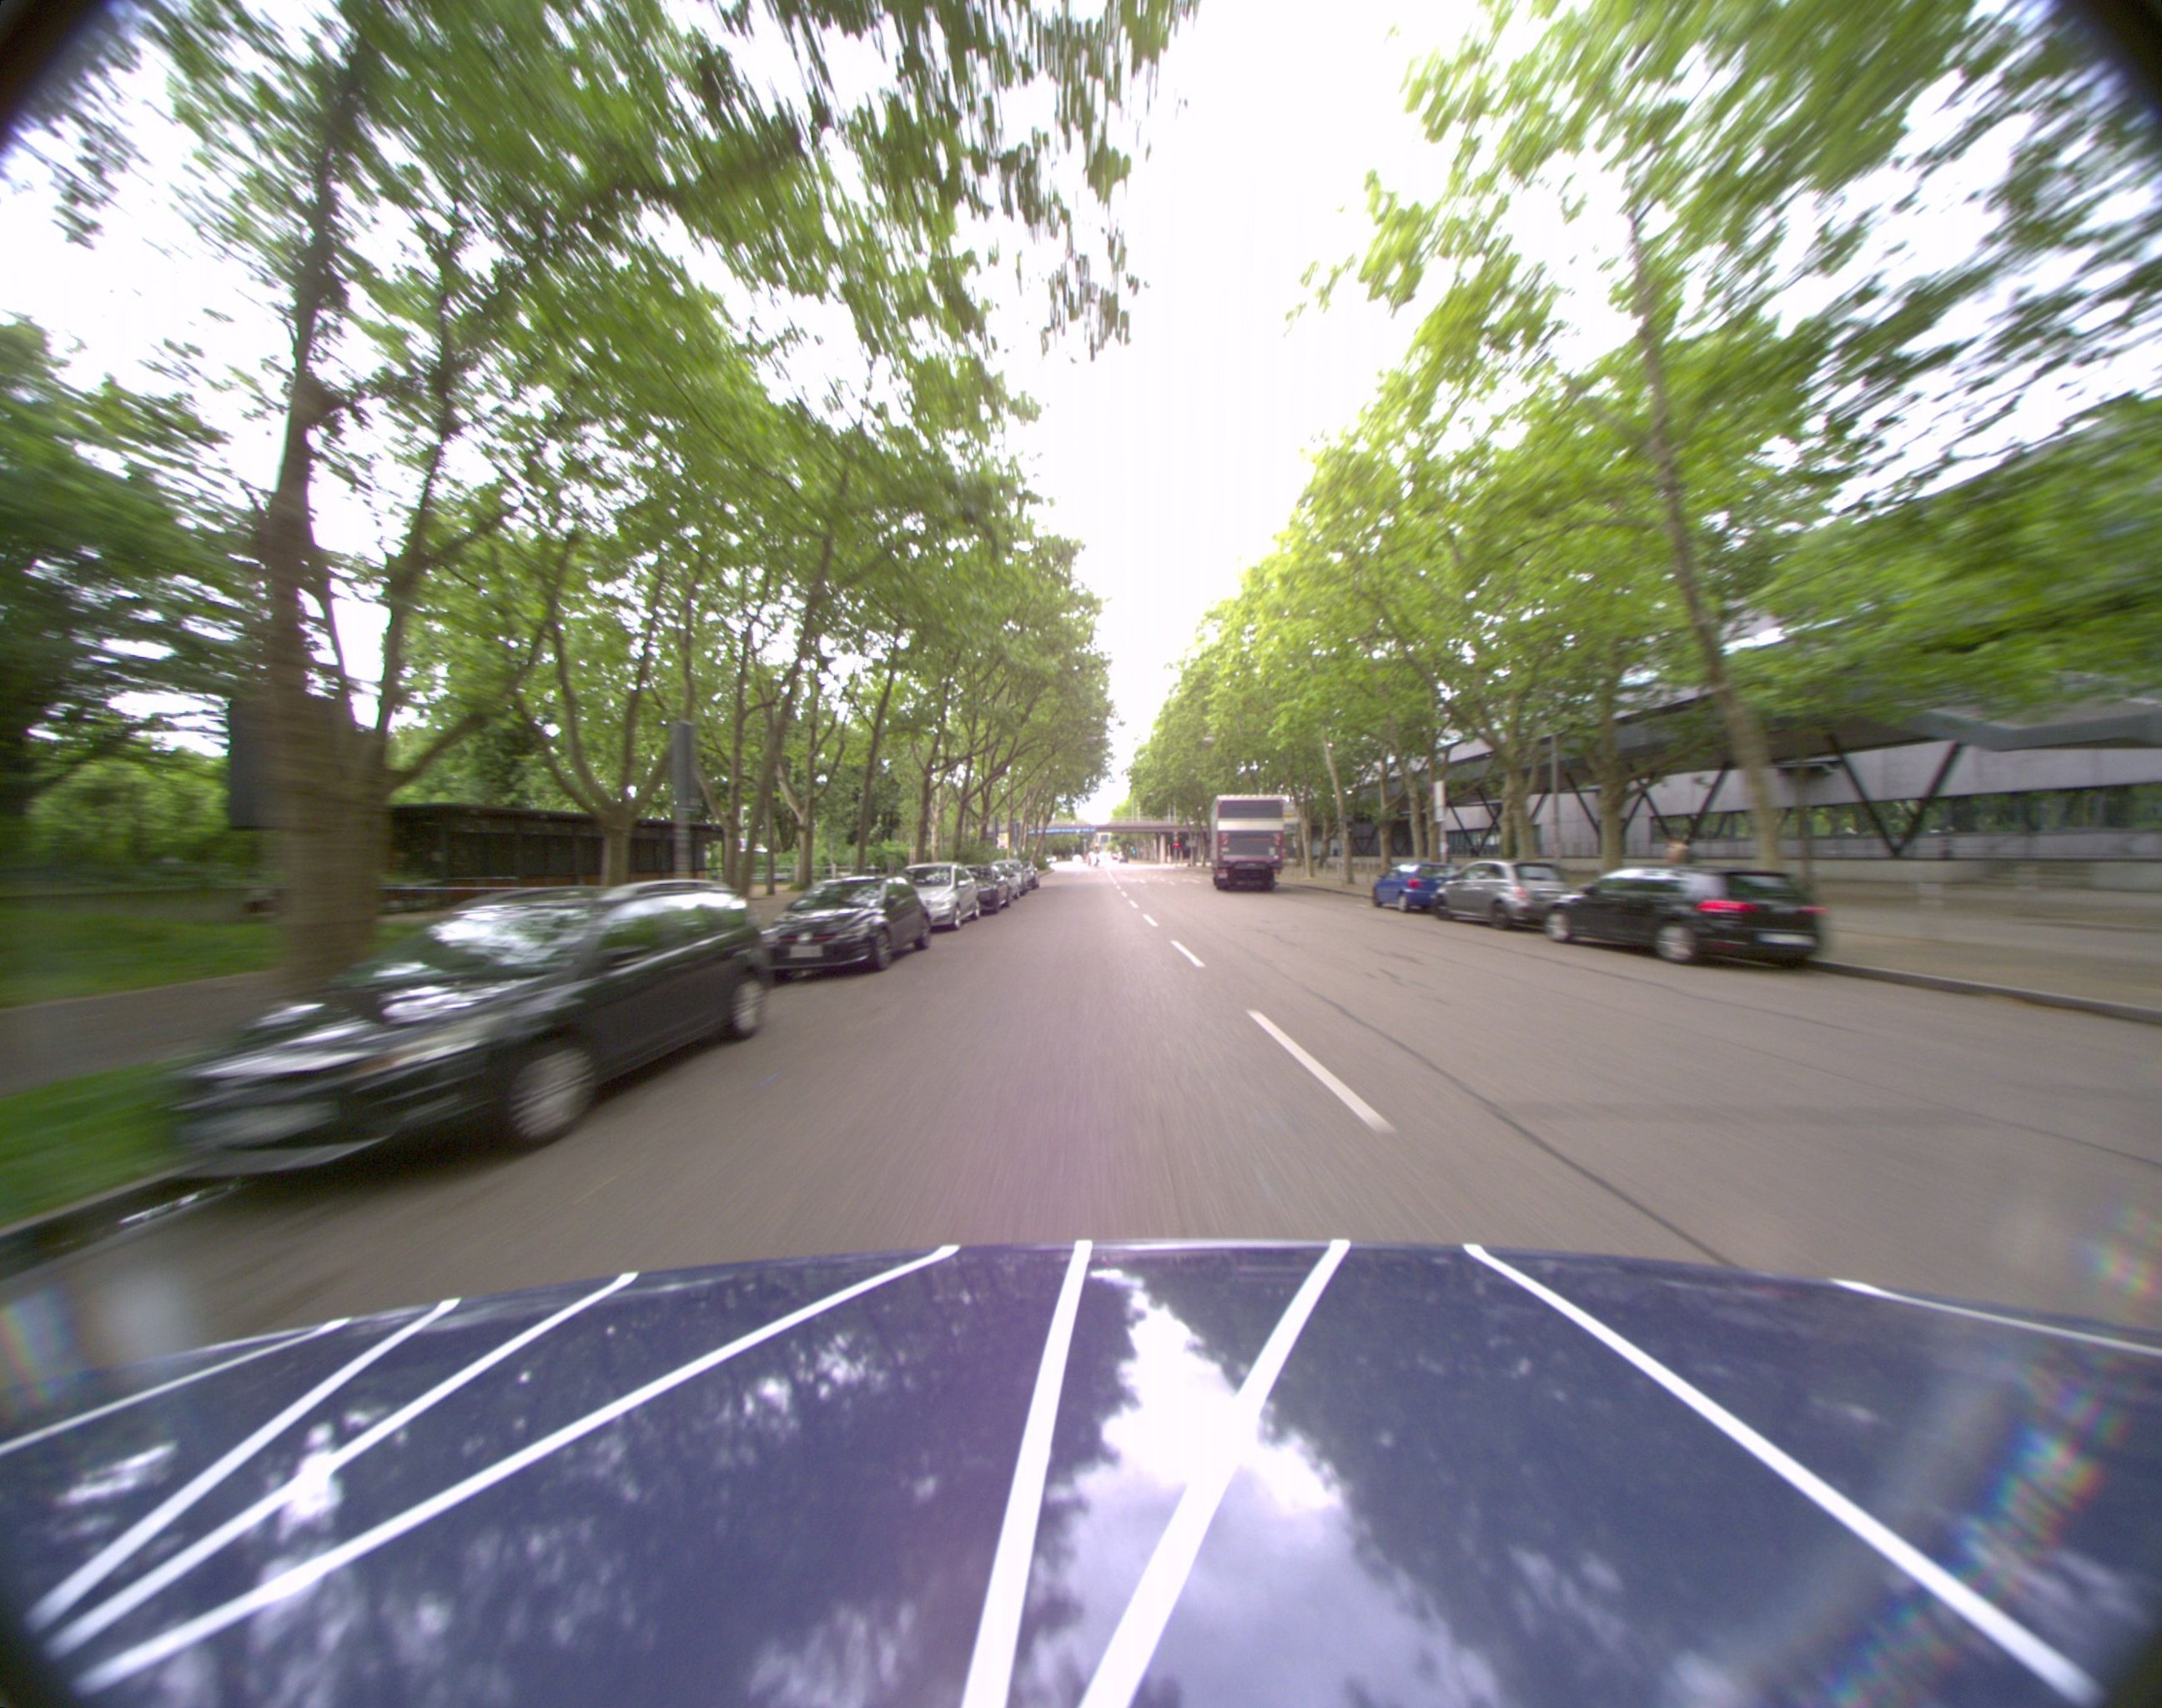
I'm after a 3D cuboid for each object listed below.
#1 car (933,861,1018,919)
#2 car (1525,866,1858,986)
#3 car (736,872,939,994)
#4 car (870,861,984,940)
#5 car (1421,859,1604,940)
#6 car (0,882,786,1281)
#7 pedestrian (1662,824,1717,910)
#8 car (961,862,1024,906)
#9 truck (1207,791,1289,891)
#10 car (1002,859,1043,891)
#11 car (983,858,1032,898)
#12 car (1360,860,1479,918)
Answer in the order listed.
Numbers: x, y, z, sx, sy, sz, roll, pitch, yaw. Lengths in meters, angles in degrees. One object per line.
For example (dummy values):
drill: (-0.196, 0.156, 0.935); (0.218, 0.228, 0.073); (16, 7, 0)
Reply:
car: (-3.184, 1.039, 23.936); (1.734, 1.468, 4.982); (-3, 0, 2)
car: (9.078, 0.958, 11.893); (1.712, 1.374, 4.331); (3, 0, 1)
car: (-3.722, 1.130, 12.453); (1.743, 1.462, 4.152); (-3, 0, 3)
car: (-3.689, 1.047, 18.973); (1.783, 1.608, 4.225); (-3, 0, 2)
car: (9.304, 0.912, 16.759); (1.699, 1.470, 3.649); (2, 0, -4)
car: (-4.005, 1.116, 5.651); (1.781, 1.544, 4.396); (-3, 0, 0)
pedestrian: (13.466, 0.280, 16.817); (0.508, 1.829, 0.826); (-1, 1, -5)
car: (-3.307, 1.085, 29.158); (1.734, 1.413, 4.080); (-3, 0, 2)
truck: (7.279, -0.583, 34.342); (2.915, 3.846, 9.471); (0, 1, 8)
car: (-3.014, 1.089, 40.065); (1.734, 1.460, 4.079); (-3, 0, 0)
car: (-3.240, 1.027, 34.142); (1.734, 1.560, 4.079); (-3, 0, 0)
car: (9.415, 0.904, 21.486); (1.698, 1.354, 4.001); (3, 0, 3)
